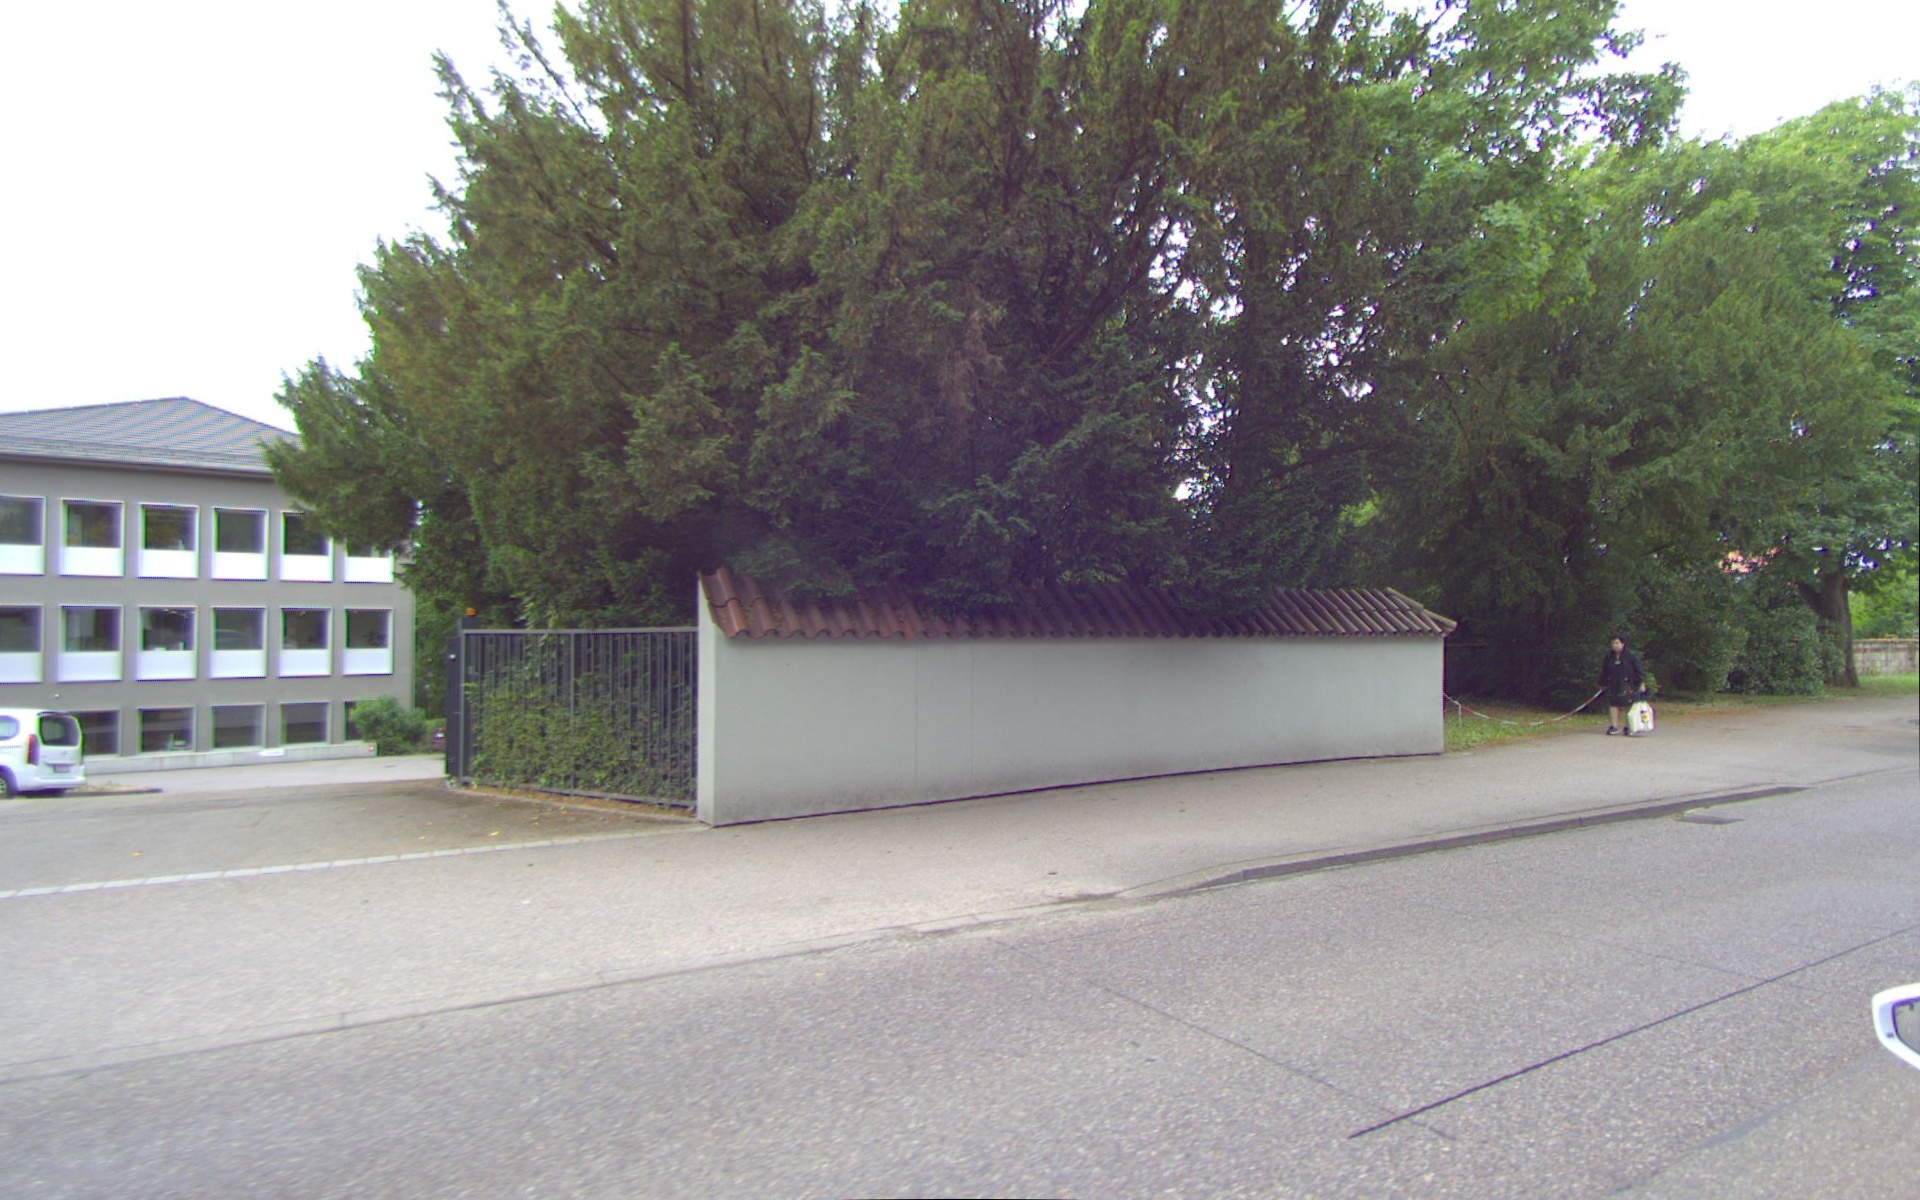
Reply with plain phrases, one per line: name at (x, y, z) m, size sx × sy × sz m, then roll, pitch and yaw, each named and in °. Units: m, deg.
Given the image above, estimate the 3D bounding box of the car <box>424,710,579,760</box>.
car at (-15.850, 4.624, 34.929) m, size 1.837 × 1.408 × 4.534 m, roll -3°, pitch -5°, yaw 40°

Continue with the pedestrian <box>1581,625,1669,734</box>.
pedestrian at (10.400, 1.207, 15.707) m, size 0.896 × 1.581 × 0.917 m, roll 1°, pitch 1°, yaw -43°

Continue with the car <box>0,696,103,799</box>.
car at (-19.313, 2.832, 19.112) m, size 4.081 × 1.828 × 1.878 m, roll 0°, pitch -4°, yaw -17°
